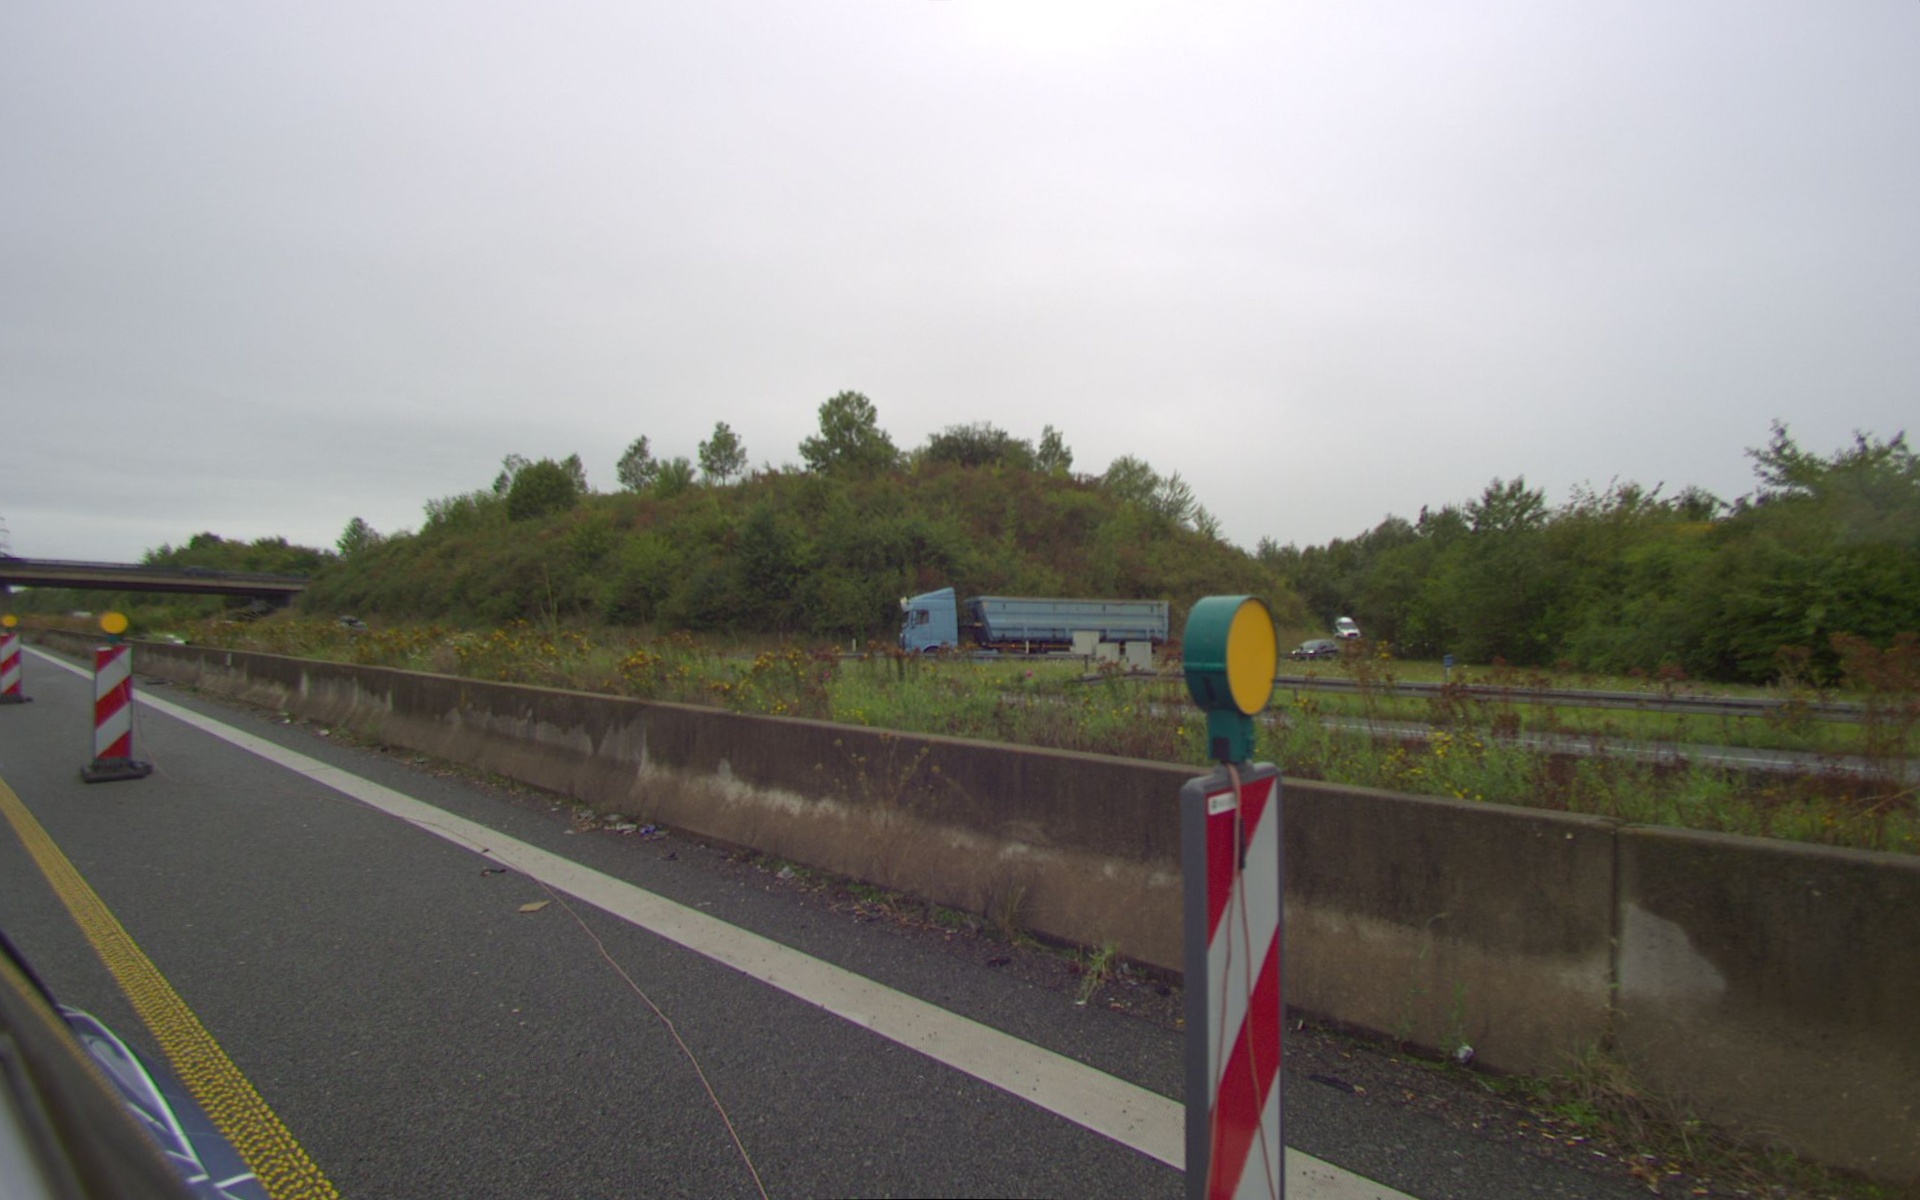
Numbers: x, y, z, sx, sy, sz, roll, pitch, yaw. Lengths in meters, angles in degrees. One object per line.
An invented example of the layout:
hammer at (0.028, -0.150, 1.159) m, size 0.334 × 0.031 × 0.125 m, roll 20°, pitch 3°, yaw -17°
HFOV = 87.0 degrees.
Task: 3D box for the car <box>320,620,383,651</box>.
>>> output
car at (-36.028, 2.087, 59.884) m, size 4.228 × 1.803 × 1.972 m, roll -1°, pitch -3°, yaw 42°

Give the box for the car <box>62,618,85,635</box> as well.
car at (-133.422, 3.966, 152.249) m, size 2.214 × 2.459 × 5.886 m, roll 2°, pitch -3°, yaw -45°

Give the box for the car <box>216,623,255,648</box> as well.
car at (-46.914, 2.272, 65.483) m, size 3.662 × 1.543 × 1.436 m, roll 0°, pitch 0°, yaw 44°

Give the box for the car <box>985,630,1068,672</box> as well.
car at (3.352, 2.570, 51.463) m, size 3.938 × 2.029 × 2.002 m, roll 1°, pitch -2°, yaw -6°

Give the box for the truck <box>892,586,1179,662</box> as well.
truck at (3.875, 1.301, 51.686) m, size 14.337 × 3.647 × 2.908 m, roll 1°, pitch -2°, yaw -13°
